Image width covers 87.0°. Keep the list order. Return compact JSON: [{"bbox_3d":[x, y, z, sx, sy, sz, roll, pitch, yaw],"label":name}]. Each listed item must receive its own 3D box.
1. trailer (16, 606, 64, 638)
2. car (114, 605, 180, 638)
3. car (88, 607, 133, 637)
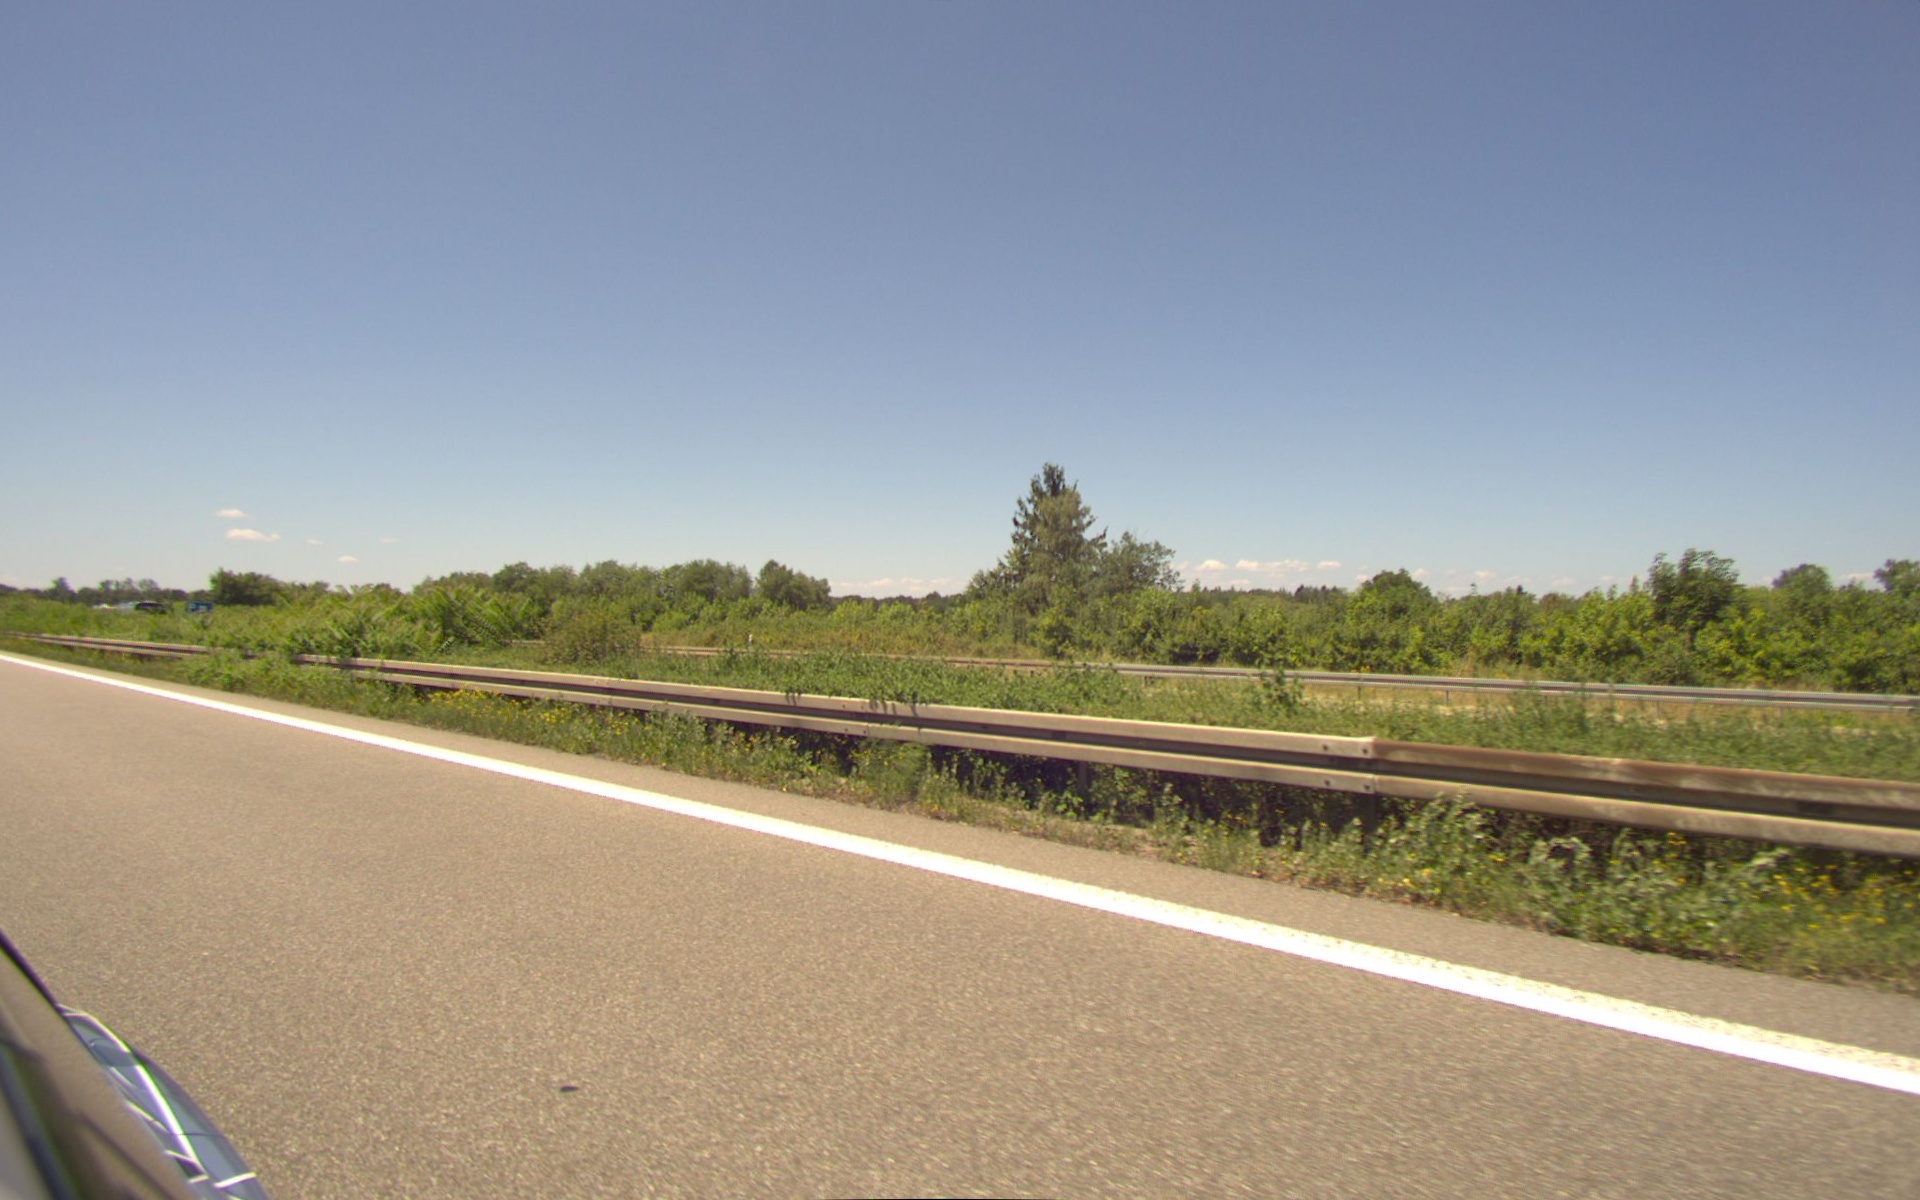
[{"bbox_3d":[-117.756,2.750,129.420,13.902,3.899,2.903,-1,0,41],"label":"trailer"},{"bbox_3d":[-49.781,1.305,61.927,5.516,1.913,2.235,-1,0,41],"label":"car"},{"bbox_3d":[-81.624,2.092,97.206,5.516,2.729,2.445,-1,0,41],"label":"car"}]
